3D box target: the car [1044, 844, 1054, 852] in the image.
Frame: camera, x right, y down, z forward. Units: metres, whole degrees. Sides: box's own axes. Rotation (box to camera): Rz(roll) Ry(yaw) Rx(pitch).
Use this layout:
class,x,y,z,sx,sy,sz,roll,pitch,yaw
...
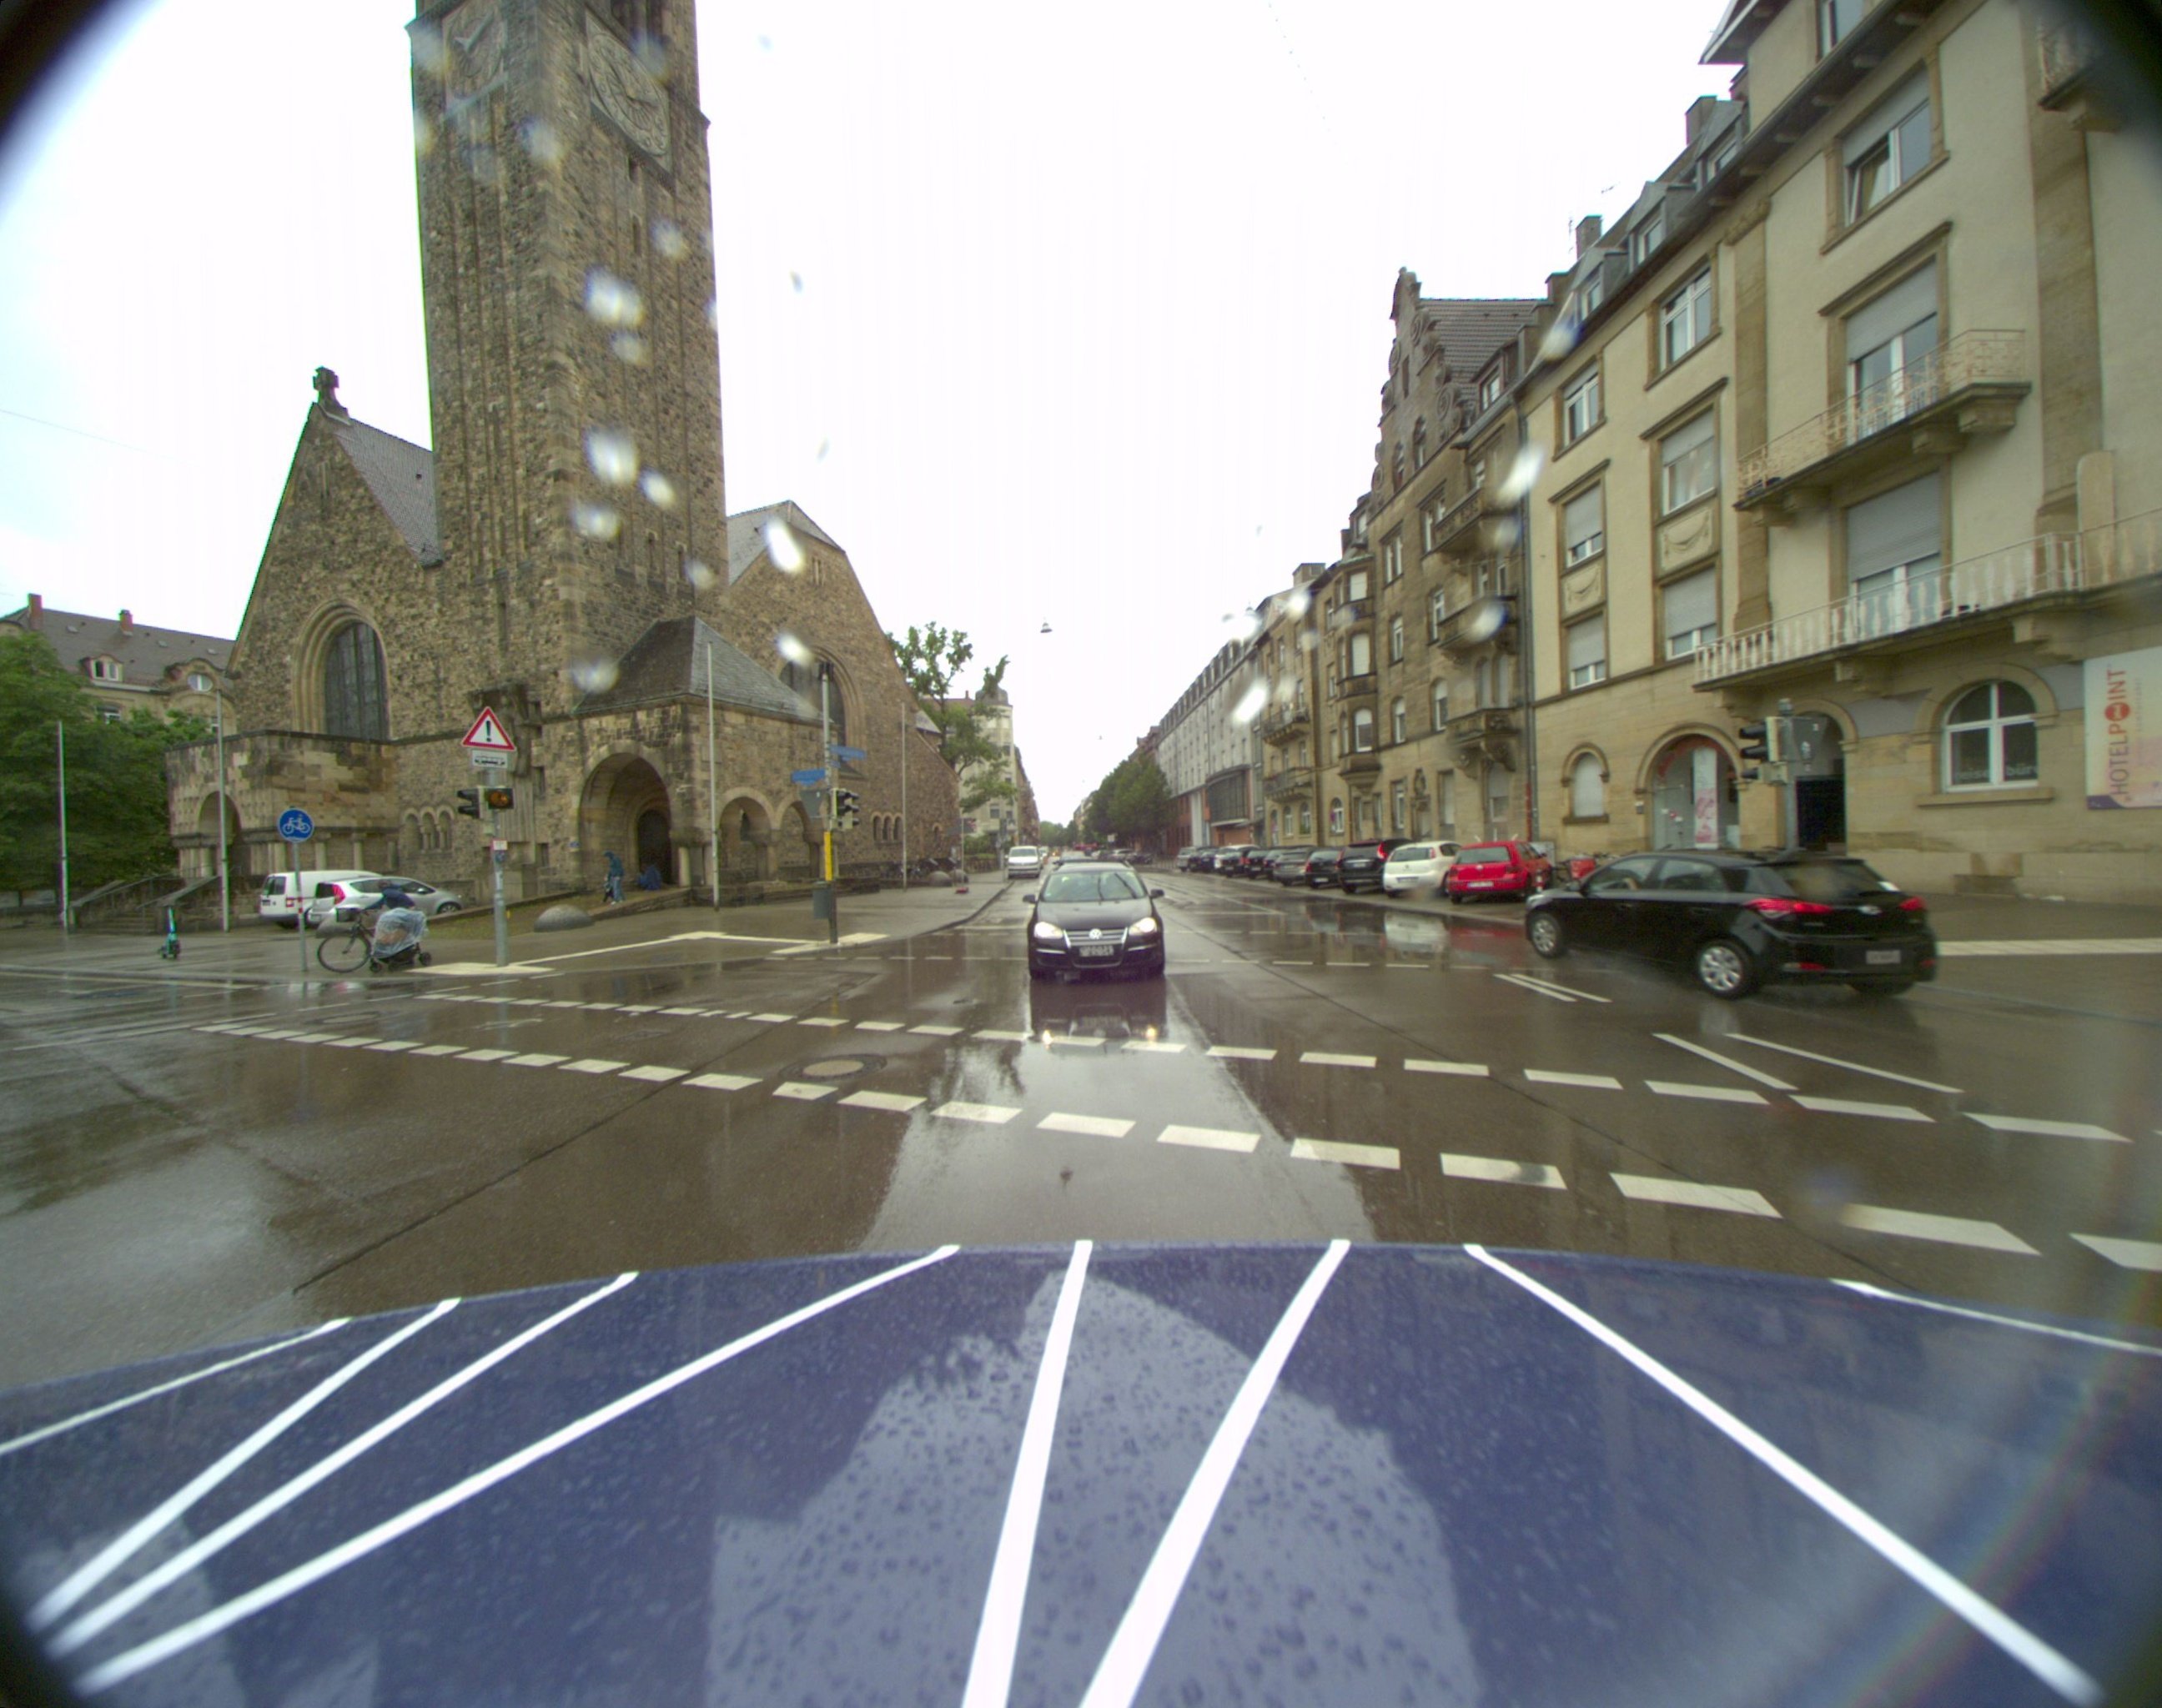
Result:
class,x,y,z,sx,sy,sz,roll,pitch,yaw
car,-7.535,-1.464,177.622,1.998,1.705,3.802,-1,1,2

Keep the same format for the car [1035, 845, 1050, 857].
class,x,y,z,sx,sy,sz,roll,pitch,yaw
car,-5.043,-0.453,100.227,1.922,1.470,4.219,-1,1,-2

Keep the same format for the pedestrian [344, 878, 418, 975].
class,x,y,z,sx,sy,sz,roll,pitch,yaw
pedestrian,-12.593,1.287,13.689,0.604,1.654,0.689,-2,1,1

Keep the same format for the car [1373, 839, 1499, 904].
class,x,y,z,sx,sy,sz,roll,pitch,yaw
car,10.172,0.463,21.659,4.001,1.525,1.700,-4,1,-41

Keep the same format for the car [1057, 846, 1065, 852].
class,x,y,z,sx,sy,sz,roll,pitch,yaw
car,-5.660,-1.487,213.832,1.998,1.705,4.374,-1,1,2

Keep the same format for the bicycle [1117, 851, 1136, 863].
class,x,y,z,sx,sy,sz,roll,pitch,yaw
bicycle,4.412,0.265,73.914,1.688,1.067,0.544,-2,1,-5

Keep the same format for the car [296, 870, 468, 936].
class,x,y,z,sx,sy,sz,roll,pitch,yaw
car,-21.495,1.459,23.517,1.732,1.566,3.361,-2,4,25

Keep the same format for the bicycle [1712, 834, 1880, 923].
class,x,y,z,sx,sy,sz,roll,pitch,yaw
bicycle,11.738,0.381,12.491,2.347,1.338,0.640,-2,1,-6

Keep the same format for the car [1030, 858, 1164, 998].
class,x,y,z,sx,sy,sz,roll,pitch,yaw
car,0.135,0.880,11.011,1.547,1.553,4.069,-1,1,-2

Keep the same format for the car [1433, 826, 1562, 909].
class,x,y,z,sx,sy,sz,roll,pitch,yaw
car,10.376,0.297,18.788,1.799,1.499,4.005,-5,2,43

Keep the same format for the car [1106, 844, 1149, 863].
class,x,y,z,sx,sy,sz,roll,pitch,yaw
car,4.781,-0.062,78.328,4.005,1.804,1.995,-2,1,-28

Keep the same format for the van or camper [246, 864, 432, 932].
class,x,y,z,sx,sy,sz,roll,pitch,yaw
van or camper,-24.425,1.376,25.205,1.645,1.719,3.933,-1,4,22

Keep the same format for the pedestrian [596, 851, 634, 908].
class,x,y,z,sx,sy,sz,roll,pitch,yaw
pedestrian,-14.283,0.773,23.307,0.633,1.693,0.679,-2,1,19

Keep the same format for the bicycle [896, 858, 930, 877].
class,x,y,z,sx,sy,sz,roll,pitch,yaw
bicycle,-9.836,0.810,44.417,1.924,1.054,0.582,-1,1,20

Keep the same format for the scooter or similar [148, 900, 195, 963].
class,x,y,z,sx,sy,sz,roll,pitch,yaw
scooter or similar,-20.523,1.749,17.150,1.101,1.379,0.287,-2,1,21

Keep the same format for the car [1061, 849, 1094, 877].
class,x,y,z,sx,sy,sz,roll,pitch,yaw
car,-0.227,0.483,43.603,1.766,1.430,3.747,-1,1,-2

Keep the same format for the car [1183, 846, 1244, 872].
class,x,y,z,sx,sy,sz,roll,pitch,yaw
car,8.458,0.313,48.283,3.734,1.519,1.713,-2,1,-37

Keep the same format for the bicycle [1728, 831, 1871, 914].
class,x,y,z,sx,sy,sz,roll,pitch,yaw
bicycle,12.418,0.305,13.145,2.063,1.338,0.584,-2,1,-6

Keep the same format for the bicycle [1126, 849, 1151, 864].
class,x,y,z,sx,sy,sz,roll,pitch,yaw
bicycle,5.221,0.215,69.216,2.049,1.165,0.773,-5,1,-5

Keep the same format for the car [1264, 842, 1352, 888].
class,x,y,z,sx,sy,sz,roll,pitch,yaw
car,9.091,0.430,30.373,3.435,1.535,1.697,-5,1,-41

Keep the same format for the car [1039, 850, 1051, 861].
class,x,y,z,sx,sy,sz,roll,pitch,yaw
car,-4.388,0.145,92.887,1.356,1.285,3.012,-1,1,-2

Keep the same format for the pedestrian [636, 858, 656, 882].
class,x,y,z,sx,sy,sz,roll,pitch,yaw
pedestrian,-16.566,0.614,28.944,0.396,0.879,0.457,-2,1,21

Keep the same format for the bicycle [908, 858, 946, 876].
class,x,y,z,sx,sy,sz,roll,pitch,yaw
bicycle,-9.266,0.780,45.780,2.151,1.054,0.679,-1,1,20

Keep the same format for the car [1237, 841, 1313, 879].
class,x,y,z,sx,sy,sz,roll,pitch,yaw
car,9.369,0.293,36.607,3.765,1.535,1.624,-5,1,-42

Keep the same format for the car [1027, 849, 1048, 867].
class,x,y,z,sx,sy,sz,roll,pitch,yaw
car,-3.867,0.333,67.910,1.675,1.541,3.917,-1,1,-2

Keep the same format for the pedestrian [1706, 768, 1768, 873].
class,x,y,z,sx,sy,sz,roll,pitch,yaw
pedestrian,15.039,-0.740,17.436,0.846,2.326,0.765,-2,1,21

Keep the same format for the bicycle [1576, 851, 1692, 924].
class,x,y,z,sx,sy,sz,roll,pitch,yaw
bicycle,10.324,0.614,14.202,1.815,1.178,0.468,-6,1,-4

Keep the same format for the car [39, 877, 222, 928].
class,x,y,z,sx,sy,sz,roll,pitch,yaw
car,-36.874,1.846,29.619,1.995,1.609,4.005,-2,1,22

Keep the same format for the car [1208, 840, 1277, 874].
class,x,y,z,sx,sy,sz,roll,pitch,yaw
car,9.150,0.167,42.855,3.733,1.617,1.774,-5,1,-39

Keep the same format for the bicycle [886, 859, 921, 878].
class,x,y,z,sx,sy,sz,roll,pitch,yaw
bicycle,-10.224,0.832,43.828,1.924,1.054,0.582,-1,1,17

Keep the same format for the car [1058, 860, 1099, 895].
class,x,y,z,sx,sy,sz,roll,pitch,yaw
car,-0.136,0.924,31.105,1.547,1.214,3.607,-1,1,-2

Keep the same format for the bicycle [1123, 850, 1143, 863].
class,x,y,z,sx,sy,sz,roll,pitch,yaw
bicycle,4.783,0.268,70.163,1.688,1.067,0.544,-5,1,-5

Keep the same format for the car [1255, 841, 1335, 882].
class,x,y,z,sx,sy,sz,roll,pitch,yaw
car,9.520,0.338,33.735,3.449,1.535,1.624,-5,1,-38

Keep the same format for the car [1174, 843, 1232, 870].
class,x,y,z,sx,sy,sz,roll,pitch,yaw
car,8.260,0.138,51.356,3.931,1.720,1.811,-2,1,-43

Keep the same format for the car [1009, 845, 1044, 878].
class,x,y,z,sx,sy,sz,roll,pitch,yaw
car,-3.394,0.397,47.891,1.909,1.911,5.270,-1,1,-2

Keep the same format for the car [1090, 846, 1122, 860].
class,x,y,z,sx,sy,sz,roll,pitch,yaw
car,3.275,-0.129,98.968,3.803,1.705,1.998,-2,1,-12

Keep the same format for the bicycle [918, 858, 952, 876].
class,x,y,z,sx,sy,sz,roll,pitch,yaw
bicycle,-8.956,0.787,46.674,1.978,1.060,0.607,-1,1,21

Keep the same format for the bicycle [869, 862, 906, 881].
class,x,y,z,sx,sy,sz,roll,pitch,yaw
bicycle,-10.874,0.969,42.703,2.005,1.043,0.577,-1,1,15

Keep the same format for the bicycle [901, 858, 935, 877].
class,x,y,z,sx,sy,sz,roll,pitch,yaw
bicycle,-9.689,0.800,45.080,1.924,1.054,0.582,-1,1,20

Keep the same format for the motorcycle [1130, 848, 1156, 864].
class,x,y,z,sx,sy,sz,roll,pitch,yaw
motorcycle,5.566,0.159,68.259,2.255,1.302,0.758,-4,1,-2

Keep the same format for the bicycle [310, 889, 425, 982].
class,x,y,z,sx,sy,sz,roll,pitch,yaw
bicycle,-12.997,1.432,13.914,0.533,1.458,1.938,-2,1,-11

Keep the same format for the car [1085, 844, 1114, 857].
class,x,y,z,sx,sy,sz,roll,pitch,yaw
car,2.892,-0.520,119.338,4.006,2.002,1.995,-2,1,-30

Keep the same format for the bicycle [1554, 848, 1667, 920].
class,x,y,z,sx,sy,sz,roll,pitch,yaw
bicycle,10.264,0.568,14.754,1.815,1.178,0.475,-6,1,-3

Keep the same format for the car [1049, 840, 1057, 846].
class,x,y,z,sx,sy,sz,roll,pitch,yaw
car,-8.197,-3.174,222.078,1.838,1.827,4.000,-1,1,2

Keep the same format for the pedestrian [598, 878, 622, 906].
class,x,y,z,sx,sy,sz,roll,pitch,yaw
pedestrian,-14.842,1.197,23.932,0.455,0.879,0.397,-2,1,19

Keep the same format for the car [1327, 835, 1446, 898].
class,x,y,z,sx,sy,sz,roll,pitch,yaw
car,9.813,0.356,24.250,4.092,1.682,1.760,-5,1,-41

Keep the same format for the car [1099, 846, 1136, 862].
class,x,y,z,sx,sy,sz,roll,pitch,yaw
car,4.113,-0.008,86.100,3.803,1.705,1.998,-2,1,-12

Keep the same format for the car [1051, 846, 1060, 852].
class,x,y,z,sx,sy,sz,roll,pitch,yaw
car,-6.655,-1.347,199.115,1.998,1.705,4.374,-1,1,2

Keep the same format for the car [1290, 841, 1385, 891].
class,x,y,z,sx,sy,sz,roll,pitch,yaw
car,9.307,0.416,27.490,3.316,1.516,1.697,-5,1,-40

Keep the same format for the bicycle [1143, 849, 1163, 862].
class,x,y,z,sx,sy,sz,roll,pitch,yaw
bicycle,6.636,0.154,70.221,1.688,1.067,0.544,-5,1,-5

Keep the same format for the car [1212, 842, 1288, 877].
class,x,y,z,sx,sy,sz,roll,pitch,yaw
car,8.831,0.297,39.584,3.733,1.535,1.774,-4,1,-37

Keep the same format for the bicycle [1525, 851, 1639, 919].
class,x,y,z,sx,sy,sz,roll,pitch,yaw
bicycle,10.248,0.624,15.587,1.814,1.178,0.600,-6,1,4

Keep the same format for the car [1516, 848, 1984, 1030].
class,x,y,z,sx,sy,sz,roll,pitch,yaw
car,6.851,0.717,8.433,1.748,1.537,3.777,0,1,-3

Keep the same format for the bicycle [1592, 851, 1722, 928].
class,x,y,z,sx,sy,sz,roll,pitch,yaw
bicycle,10.345,0.625,13.665,1.985,1.178,0.475,-6,2,-5

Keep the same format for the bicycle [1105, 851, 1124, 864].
class,x,y,z,sx,sy,sz,roll,pitch,yaw
bicycle,3.162,0.334,71.615,1.688,1.067,0.544,-7,2,-5

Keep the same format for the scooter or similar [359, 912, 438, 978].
class,x,y,z,sx,sy,sz,roll,pitch,yaw
scooter or similar,-12.086,1.602,13.484,0.514,1.042,0.924,-2,1,1

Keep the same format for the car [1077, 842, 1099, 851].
class,x,y,z,sx,sy,sz,roll,pitch,yaw
car,1.378,-1.419,147.045,3.809,1.705,1.995,-2,1,-35

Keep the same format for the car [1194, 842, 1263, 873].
class,x,y,z,sx,sy,sz,roll,pitch,yaw
car,8.867,0.176,45.660,3.732,1.519,1.897,-6,3,-32
